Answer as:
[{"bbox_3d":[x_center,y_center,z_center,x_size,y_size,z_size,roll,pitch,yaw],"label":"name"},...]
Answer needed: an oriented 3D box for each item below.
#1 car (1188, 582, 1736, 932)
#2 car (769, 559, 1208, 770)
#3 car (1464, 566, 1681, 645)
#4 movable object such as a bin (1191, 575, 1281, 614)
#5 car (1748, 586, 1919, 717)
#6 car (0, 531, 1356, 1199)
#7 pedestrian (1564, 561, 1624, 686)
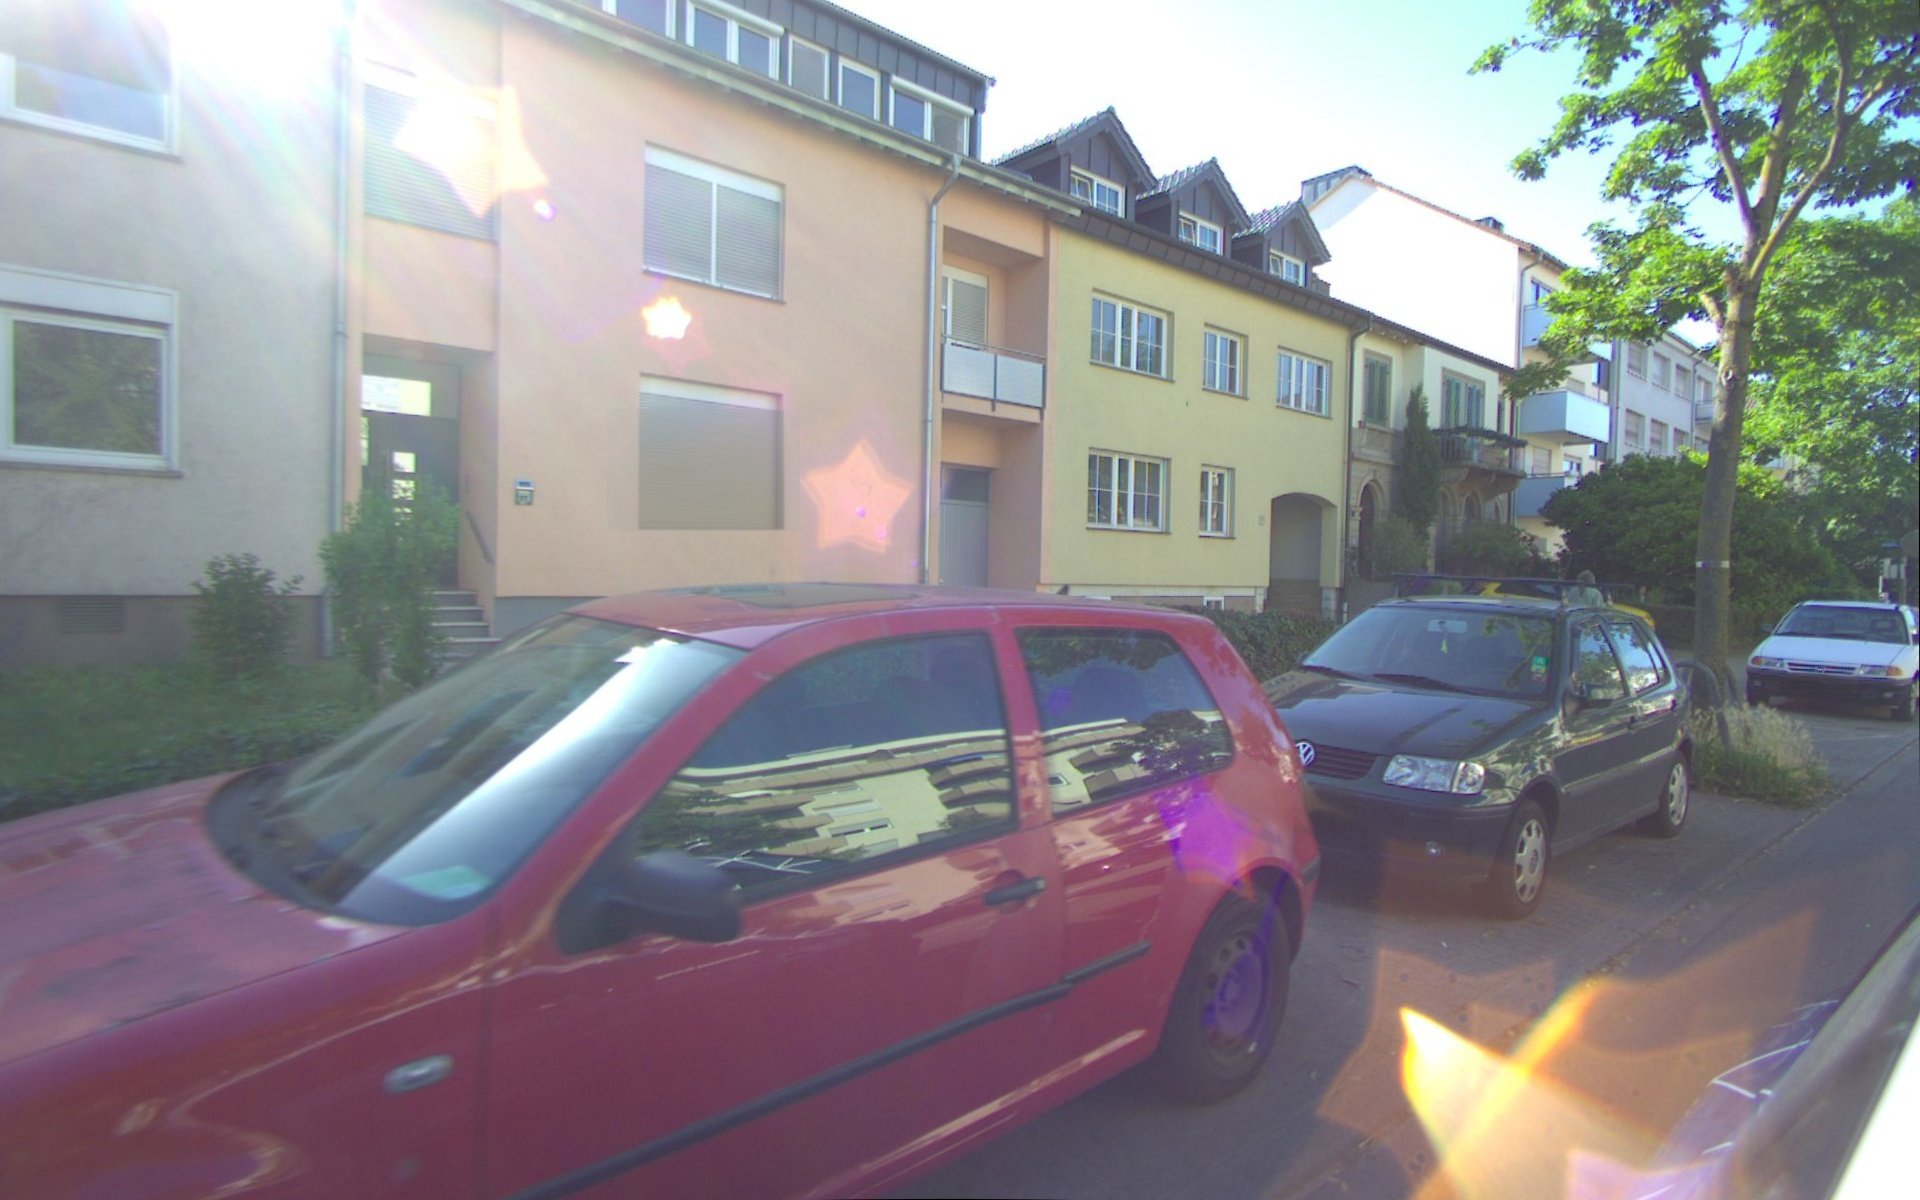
[{"bbox_3d":[3.077,0.621,5.876,3.653,1.372,1.535,0,2,-41],"label":"car"},{"bbox_3d":[0.370,0.416,8.703,3.653,1.372,1.535,0,5,-41],"label":"car"},{"bbox_3d":[14.509,0.069,24.162,1.799,1.458,3.998,0,5,-40],"label":"car"},{"bbox_3d":[7.358,-0.166,26.990,1.464,0.905,1.779,0,4,-43],"label":"movable object such as a bin"},{"bbox_3d":[12.012,0.577,13.483,3.901,1.420,1.652,0,4,-42],"label":"car"},{"bbox_3d":[-0.663,0.620,2.465,3.654,1.467,1.534,0,2,-42],"label":"car"},{"bbox_3d":[8.920,0.312,14.240,0.485,1.698,0.539,0,2,-40],"label":"pedestrian"}]
